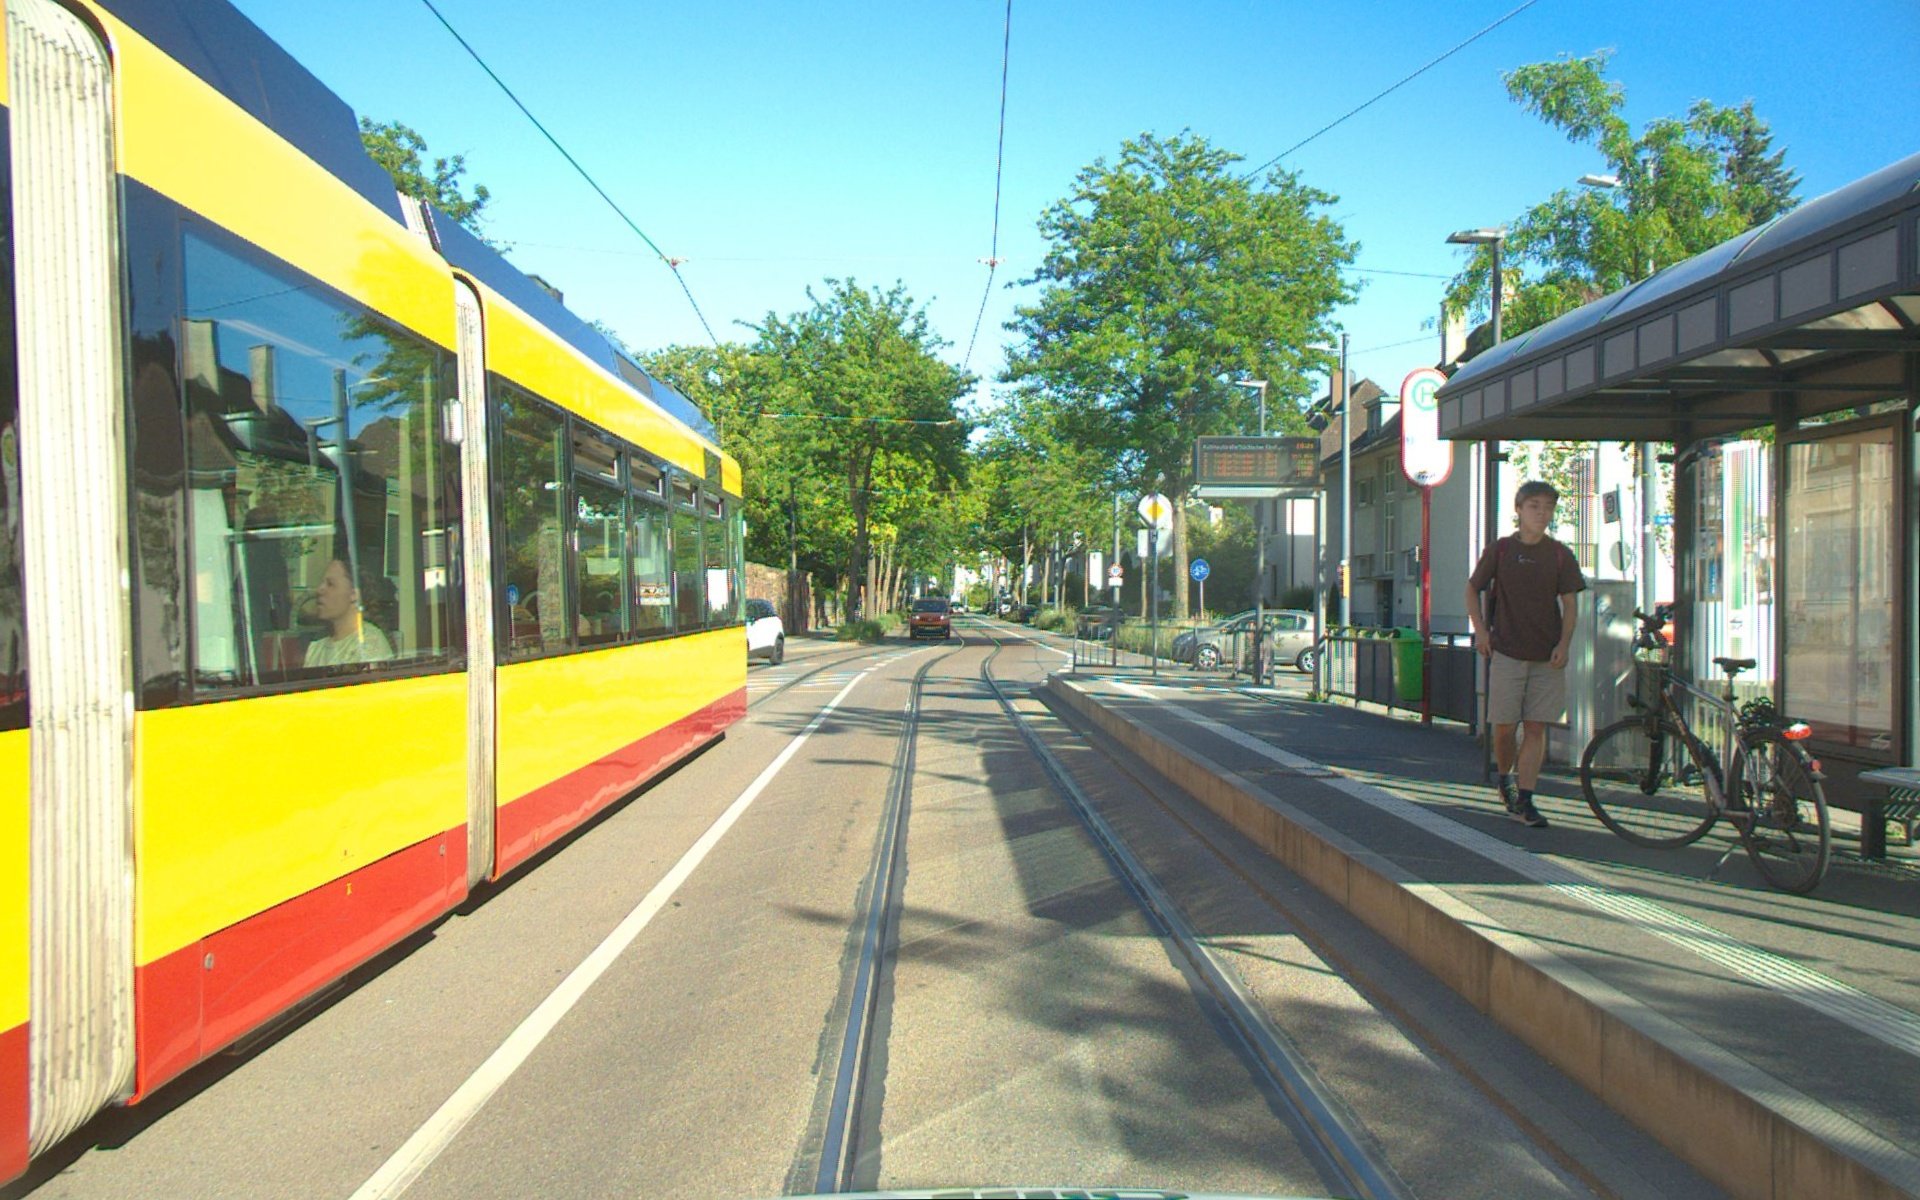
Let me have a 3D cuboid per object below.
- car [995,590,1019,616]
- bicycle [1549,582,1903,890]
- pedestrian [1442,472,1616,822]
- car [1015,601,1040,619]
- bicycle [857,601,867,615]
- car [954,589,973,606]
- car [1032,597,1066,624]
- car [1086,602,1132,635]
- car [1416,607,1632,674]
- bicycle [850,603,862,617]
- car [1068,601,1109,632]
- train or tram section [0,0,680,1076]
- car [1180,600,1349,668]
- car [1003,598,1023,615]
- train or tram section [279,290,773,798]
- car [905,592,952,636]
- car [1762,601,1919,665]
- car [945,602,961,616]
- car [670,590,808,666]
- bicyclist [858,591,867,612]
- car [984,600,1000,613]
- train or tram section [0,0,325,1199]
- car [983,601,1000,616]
[{"bbox_3d":[4.961,0.303,175.030,2.200,2.700,5.584,0,0,-1],"label":"car"},{"bbox_3d":[3.479,0.557,7.731,0.607,1.251,1.965,1,0,-5],"label":"bicycle"},{"bbox_3d":[3.201,0.254,9.364,0.696,1.886,0.729,2,0,1],"label":"pedestrian"},{"bbox_3d":[5.884,0.882,143.904,1.748,1.473,4.299,-3,0,-3],"label":"car"},{"bbox_3d":[-7.216,0.589,121.810,0.577,0.977,2.132,0,0,0],"label":"bicycle"},{"bbox_3d":[0.562,-0.363,253.371,1.960,2.501,4.492,0,0,-14],"label":"car"},{"bbox_3d":[6.281,0.723,117.442,1.953,1.734,4.475,-3,0,-2],"label":"car"},{"bbox_3d":[7.056,0.859,78.740,1.713,1.521,4.442,-1,0,-1],"label":"car"},{"bbox_3d":[12.987,0.933,38.351,4.505,1.492,1.983,0,-2,11],"label":"car"},{"bbox_3d":[-7.369,0.734,117.527,0.696,0.977,2.094,0,0,0],"label":"bicycle"},{"bbox_3d":[6.541,0.845,84.735,1.713,1.521,3.995,-1,0,-1],"label":"car"},{"bbox_3d":[-3.305,-0.371,8.209,2.747,3.520,6.667,1,0,-1],"label":"train or tram section"},{"bbox_3d":[7.294,0.794,39.830,3.902,1.534,1.984,0,0,9],"label":"car"},{"bbox_3d":[4.890,0.612,153.622,1.594,1.422,3.644,-3,0,-1],"label":"car"},{"bbox_3d":[-3.404,-0.393,14.904,2.747,3.520,6.667,1,0,-1],"label":"train or tram section"},{"bbox_3d":[-1.501,0.646,76.967,1.954,2.000,4.930,0,0,-4],"label":"car"},{"bbox_3d":[22.386,0.815,41.047,4.083,1.534,1.979,1,0,-7],"label":"car"},{"bbox_3d":[-0.852,1.126,202.927,1.827,1.704,4.174,-1,0,1],"label":"car"},{"bbox_3d":[-5.166,0.627,39.223,1.727,1.693,4.213,0,0,16],"label":"car"},{"bbox_3d":[-7.215,0.137,122.018,0.581,1.554,1.061,0,0,0],"label":"bicyclist"},{"bbox_3d":[4.390,0.859,224.510,1.961,1.704,4.394,-2,0,3],"label":"car"},{"bbox_3d":[-3.208,-0.359,1.497,2.747,3.520,6.667,1,0,-1],"label":"train or tram section"},{"bbox_3d":[3.959,1.063,206.993,1.962,1.704,4.391,-2,0,-1],"label":"car"}]
